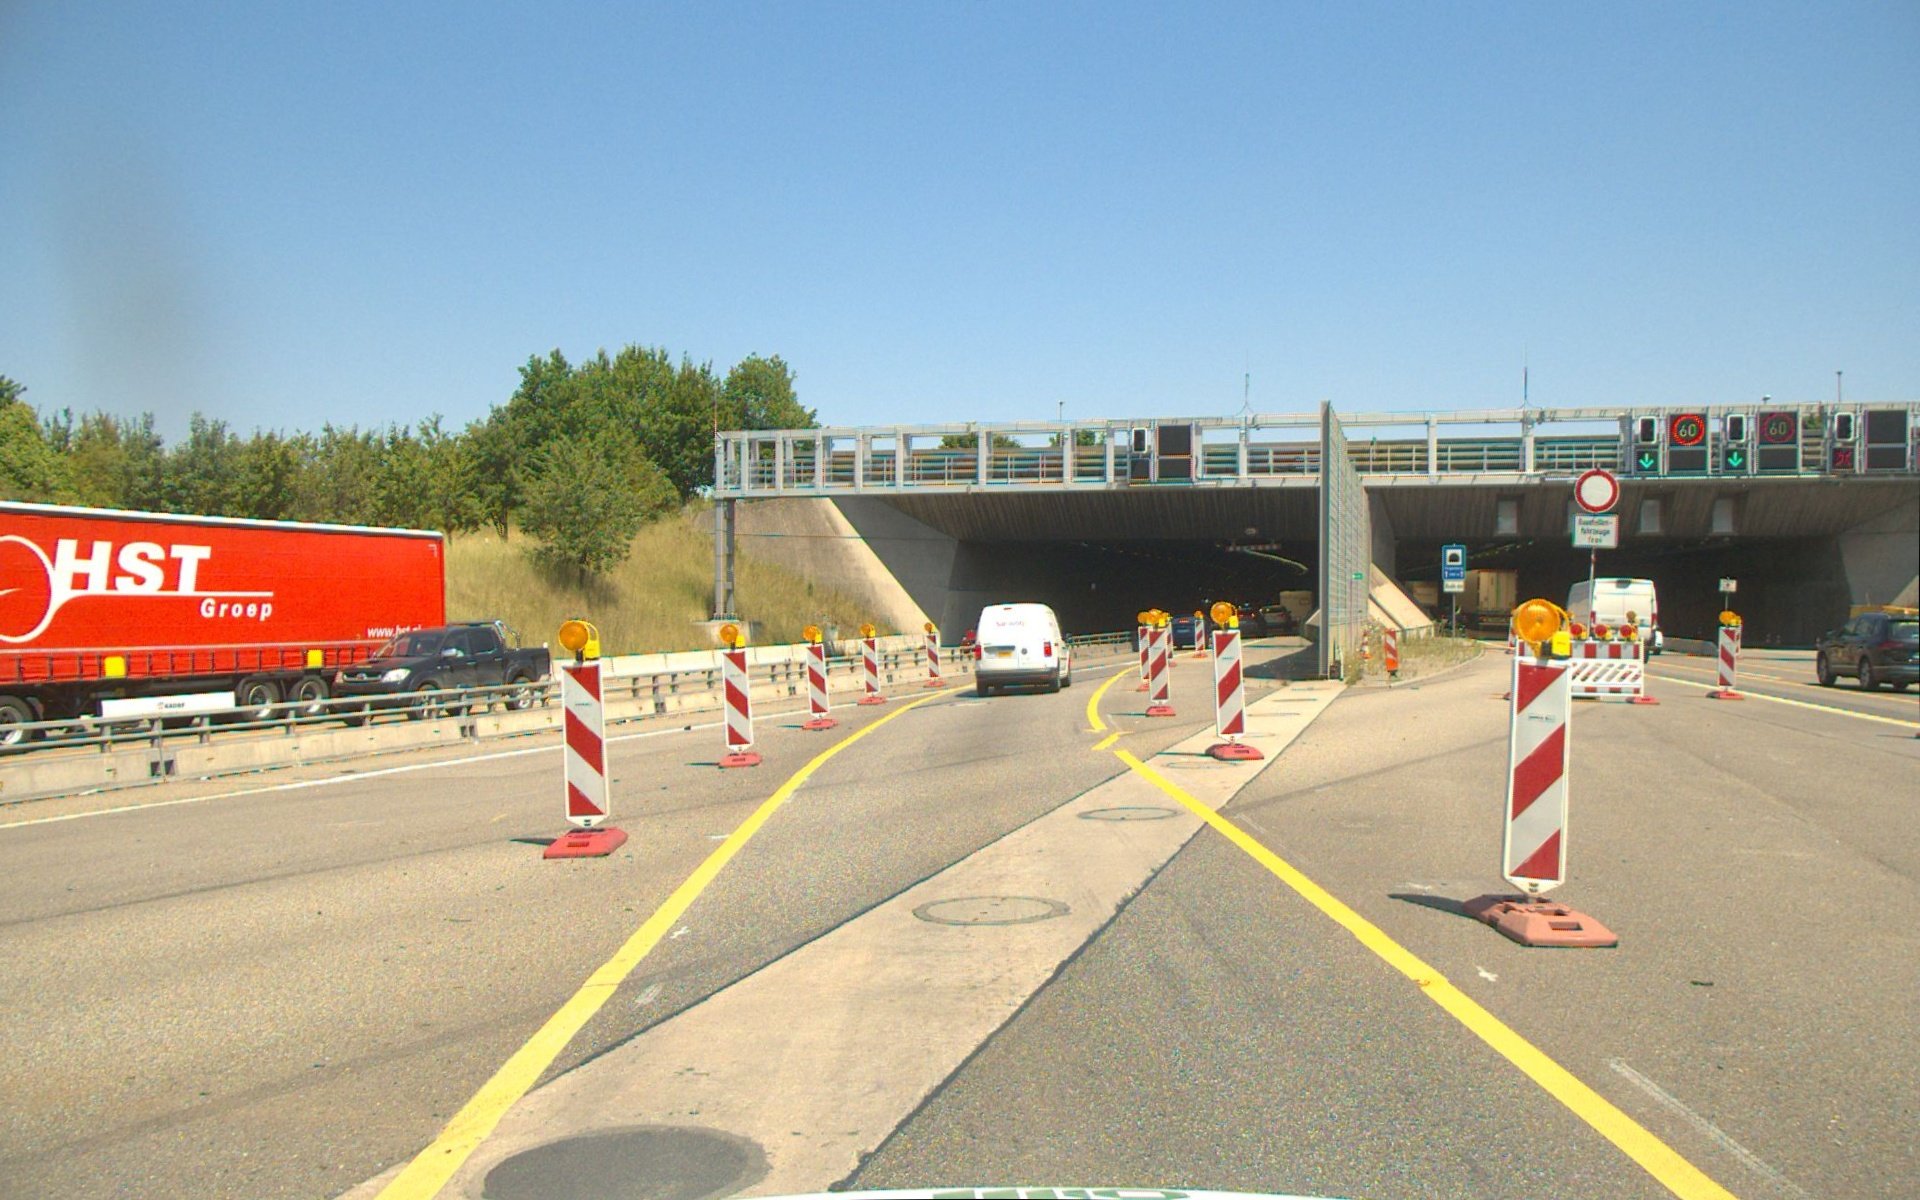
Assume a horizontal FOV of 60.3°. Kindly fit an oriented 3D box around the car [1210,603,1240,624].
[{"bbox_3d":[22.054,1.129,137.596,1.736,1.621,4.989,-3,-1,17],"label":"car"}]

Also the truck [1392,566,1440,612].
[{"bbox_3d":[49.402,-1.078,179.654,3.329,4.411,16.548,2,-1,10],"label":"truck"}]

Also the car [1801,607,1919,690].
[{"bbox_3d":[20.461,1.042,36.426,1.976,1.692,5.241,1,-1,10],"label":"car"}]

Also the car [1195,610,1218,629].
[{"bbox_3d":[24.047,1.883,161.154,1.736,1.695,4.811,-3,-1,14],"label":"car"}]

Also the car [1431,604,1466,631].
[{"bbox_3d":[31.181,1.131,105.656,1.776,1.671,4.656,1,-1,13],"label":"car"}]

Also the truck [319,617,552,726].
[{"bbox_3d":[-10.296,1.352,32.905,1.952,1.906,4.763,-1,0,19],"label":"truck"}]

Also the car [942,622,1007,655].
[{"bbox_3d":[0.718,1.797,78.303,1.653,1.419,3.999,-3,-2,22],"label":"car"}]

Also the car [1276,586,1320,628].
[{"bbox_3d":[24.660,0.578,120.318,2.754,2.822,7.105,-1,-2,14],"label":"car"}]

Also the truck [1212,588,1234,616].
[{"bbox_3d":[39.770,0.345,249.839,2.750,3.984,6.461,-3,-1,12],"label":"truck"}]

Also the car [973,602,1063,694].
[{"bbox_3d":[1.191,0.990,35.089,1.771,1.825,3.731,-1,-1,1],"label":"car"}]

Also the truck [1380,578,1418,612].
[{"bbox_3d":[58.304,-0.630,220.011,3.329,4.143,16.549,1,-1,10],"label":"truck"}]

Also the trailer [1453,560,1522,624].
[{"bbox_3d":[37.111,-0.464,116.759,2.674,4.133,14.106,1,-1,10],"label":"trailer"}]

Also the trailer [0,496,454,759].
[{"bbox_3d":[-14.664,0.505,31.483,2.289,4.174,13.265,-1,-1,19],"label":"trailer"}]

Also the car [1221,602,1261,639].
[{"bbox_3d":[14.713,1.057,86.453,1.770,1.847,4.413,-1,-1,13],"label":"car"}]

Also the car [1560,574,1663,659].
[{"bbox_3d":[21.330,0.552,54.410,2.217,2.580,6.589,1,-1,14],"label":"car"}]

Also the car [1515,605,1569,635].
[{"bbox_3d":[31.022,1.085,88.292,1.776,1.490,4.656,1,-1,7],"label":"car"}]

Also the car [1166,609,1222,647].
[{"bbox_3d":[9.928,1.177,69.938,1.770,1.564,4.412,-1,-1,16],"label":"car"}]

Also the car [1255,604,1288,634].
[{"bbox_3d":[19.081,1.168,101.280,1.770,1.781,4.413,-1,-1,13],"label":"car"}]
